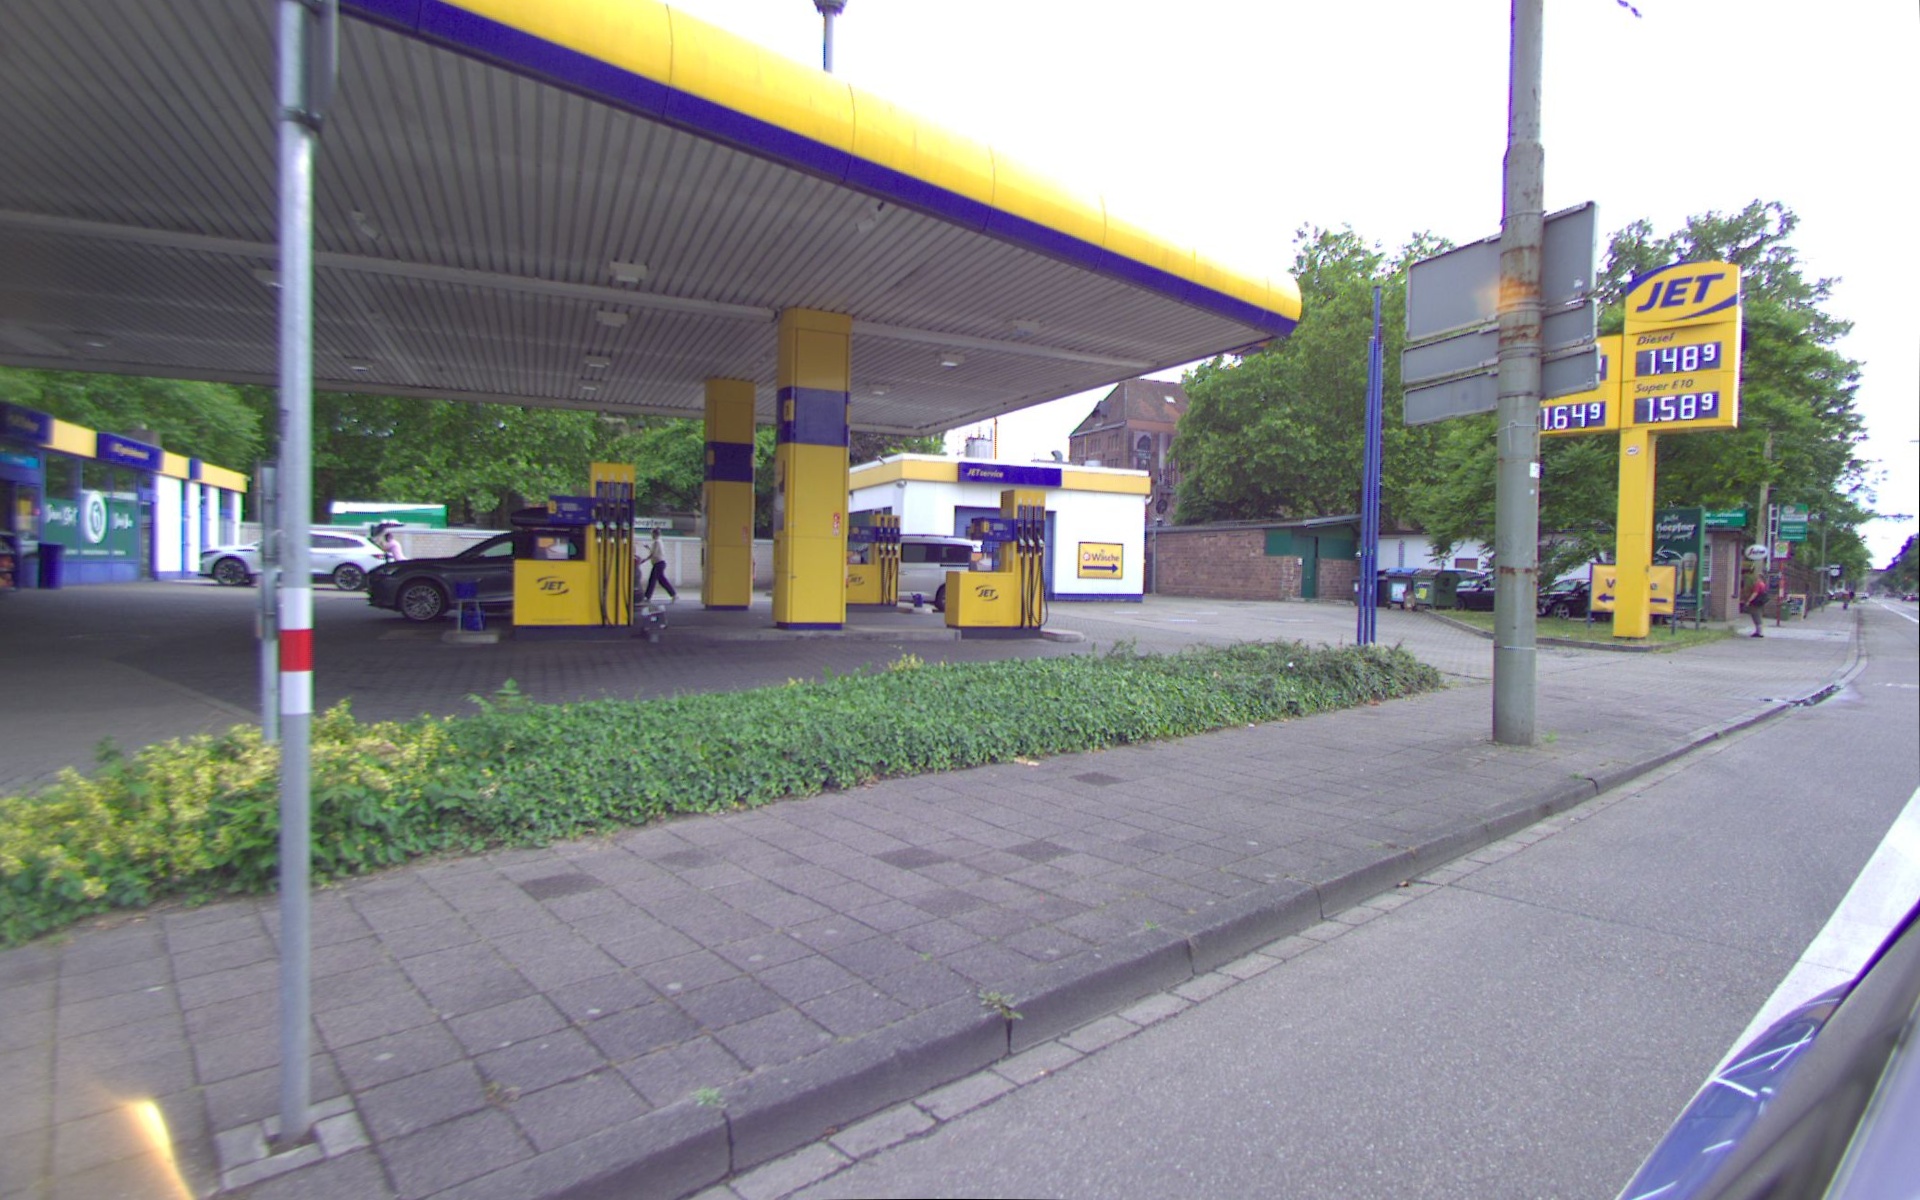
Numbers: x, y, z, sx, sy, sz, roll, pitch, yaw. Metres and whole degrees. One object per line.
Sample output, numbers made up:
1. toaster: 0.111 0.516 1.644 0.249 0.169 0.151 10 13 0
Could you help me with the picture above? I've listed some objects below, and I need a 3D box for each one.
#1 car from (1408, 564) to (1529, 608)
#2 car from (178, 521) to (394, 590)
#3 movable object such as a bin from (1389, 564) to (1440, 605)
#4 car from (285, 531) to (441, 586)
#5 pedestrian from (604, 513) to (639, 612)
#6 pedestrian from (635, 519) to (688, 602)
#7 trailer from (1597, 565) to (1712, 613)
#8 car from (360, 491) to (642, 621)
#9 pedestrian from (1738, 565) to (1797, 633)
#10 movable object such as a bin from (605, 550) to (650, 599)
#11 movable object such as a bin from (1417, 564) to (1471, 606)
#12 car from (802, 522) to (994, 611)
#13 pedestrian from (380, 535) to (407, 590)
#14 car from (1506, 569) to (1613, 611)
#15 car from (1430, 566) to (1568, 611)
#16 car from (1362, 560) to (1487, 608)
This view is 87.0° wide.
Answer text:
1. car: 20.432 -0.597 40.735 3.987 1.687 1.969 2 2 44
2. car: -18.588 -1.205 28.204 4.662 1.615 1.946 2 1 -24
3. movable object such as a bin: 15.600 -0.538 34.747 1.136 1.375 1.123 0 1 -12
4. car: -20.395 -1.395 34.793 4.332 1.606 1.963 2 0 -23
5. pedestrian: -6.356 -0.703 18.999 0.614 1.809 0.709 0 1 -19
6. pedestrian: -6.993 -0.923 23.703 0.952 1.842 0.603 4 1 1
7. trailer: 26.104 -0.444 38.079 3.284 1.549 1.747 5 6 44
8. car: -7.696 -0.735 17.306 4.165 2.012 1.829 0 3 -22
9. pedestrian: 21.958 -0.043 27.547 0.858 1.768 0.846 4 4 18
10. movable object such as a bin: -7.780 -0.595 23.706 0.781 1.079 0.603 4 1 1
11. movable object such as a bin: 16.028 -0.500 33.525 1.136 1.336 1.123 0 1 -12
12. car: -1.585 -0.842 24.796 4.435 1.865 1.992 3 3 -8
13. pedestrian: -16.309 -1.081 29.160 0.539 1.563 0.500 3 1 -19
14. car: 19.534 -0.356 32.925 3.933 1.304 1.996 -1 2 -43
15. car: 19.015 -0.425 35.805 3.919 1.536 1.829 0 1 -6
16. car: 17.432 -0.602 38.059 3.942 1.716 1.815 0 1 -10
